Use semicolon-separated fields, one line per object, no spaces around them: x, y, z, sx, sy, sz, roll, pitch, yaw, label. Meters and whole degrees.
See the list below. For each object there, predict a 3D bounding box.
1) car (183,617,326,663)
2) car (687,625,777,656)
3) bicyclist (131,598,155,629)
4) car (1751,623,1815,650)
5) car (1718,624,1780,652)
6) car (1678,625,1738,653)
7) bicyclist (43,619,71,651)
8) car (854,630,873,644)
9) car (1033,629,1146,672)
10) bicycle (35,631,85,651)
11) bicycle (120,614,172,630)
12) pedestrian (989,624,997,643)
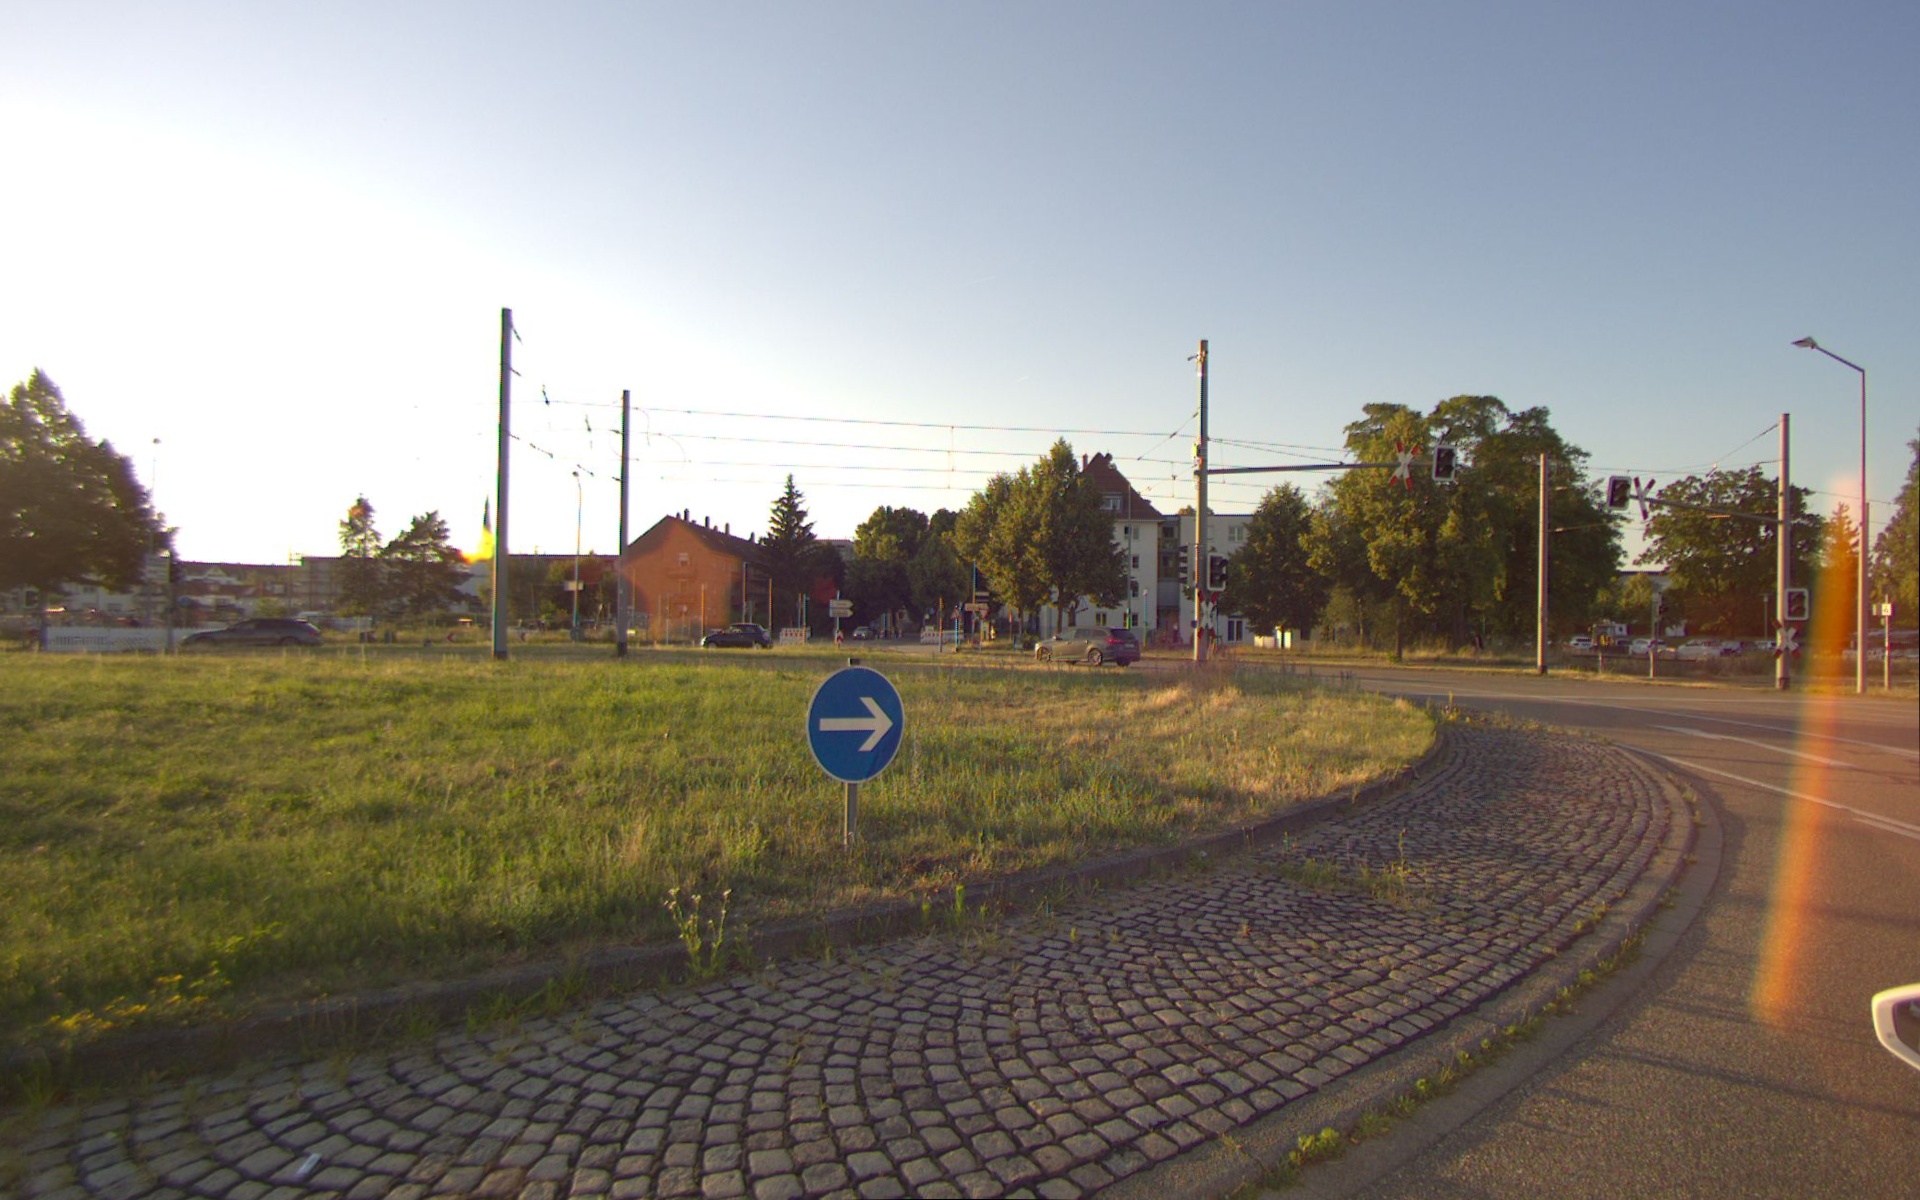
-28.443;1.602;40.698;4.541;1.771;1.738;1;-1;-29;car
-11.343;1.998;50.091;4.051;1.465;1.753;0;-1;8;car
-43.737;0.737;53.778;0.786;1.655;0.693;0;-1;-18;bicyclist
65.801;2.882;80.381;1.960;2.126;4.001;1;-1;2;car
63.311;2.999;80.676;1.960;2.126;4.001;1;-1;2;car
60.246;3.132;80.956;1.960;2.126;4.001;1;-1;2;car
-46.741;1.799;52.012;0.800;1.662;0.814;0;-1;26;bicyclist
-10.933;4.174;114.199;1.596;1.506;4.001;1;-1;2;car
4.825;1.863;37.719;1.739;1.486;4.083;1;-2;-42;car
-46.704;2.105;52.149;0.539;0.993;1.842;0;-1;26;bicycle
-43.621;1.180;53.869;2.102;0.857;0.510;0;-1;-19;bicycle
2.527;2.547;76.398;0.538;1.392;0.357;1;-1;-11;pedestrian
